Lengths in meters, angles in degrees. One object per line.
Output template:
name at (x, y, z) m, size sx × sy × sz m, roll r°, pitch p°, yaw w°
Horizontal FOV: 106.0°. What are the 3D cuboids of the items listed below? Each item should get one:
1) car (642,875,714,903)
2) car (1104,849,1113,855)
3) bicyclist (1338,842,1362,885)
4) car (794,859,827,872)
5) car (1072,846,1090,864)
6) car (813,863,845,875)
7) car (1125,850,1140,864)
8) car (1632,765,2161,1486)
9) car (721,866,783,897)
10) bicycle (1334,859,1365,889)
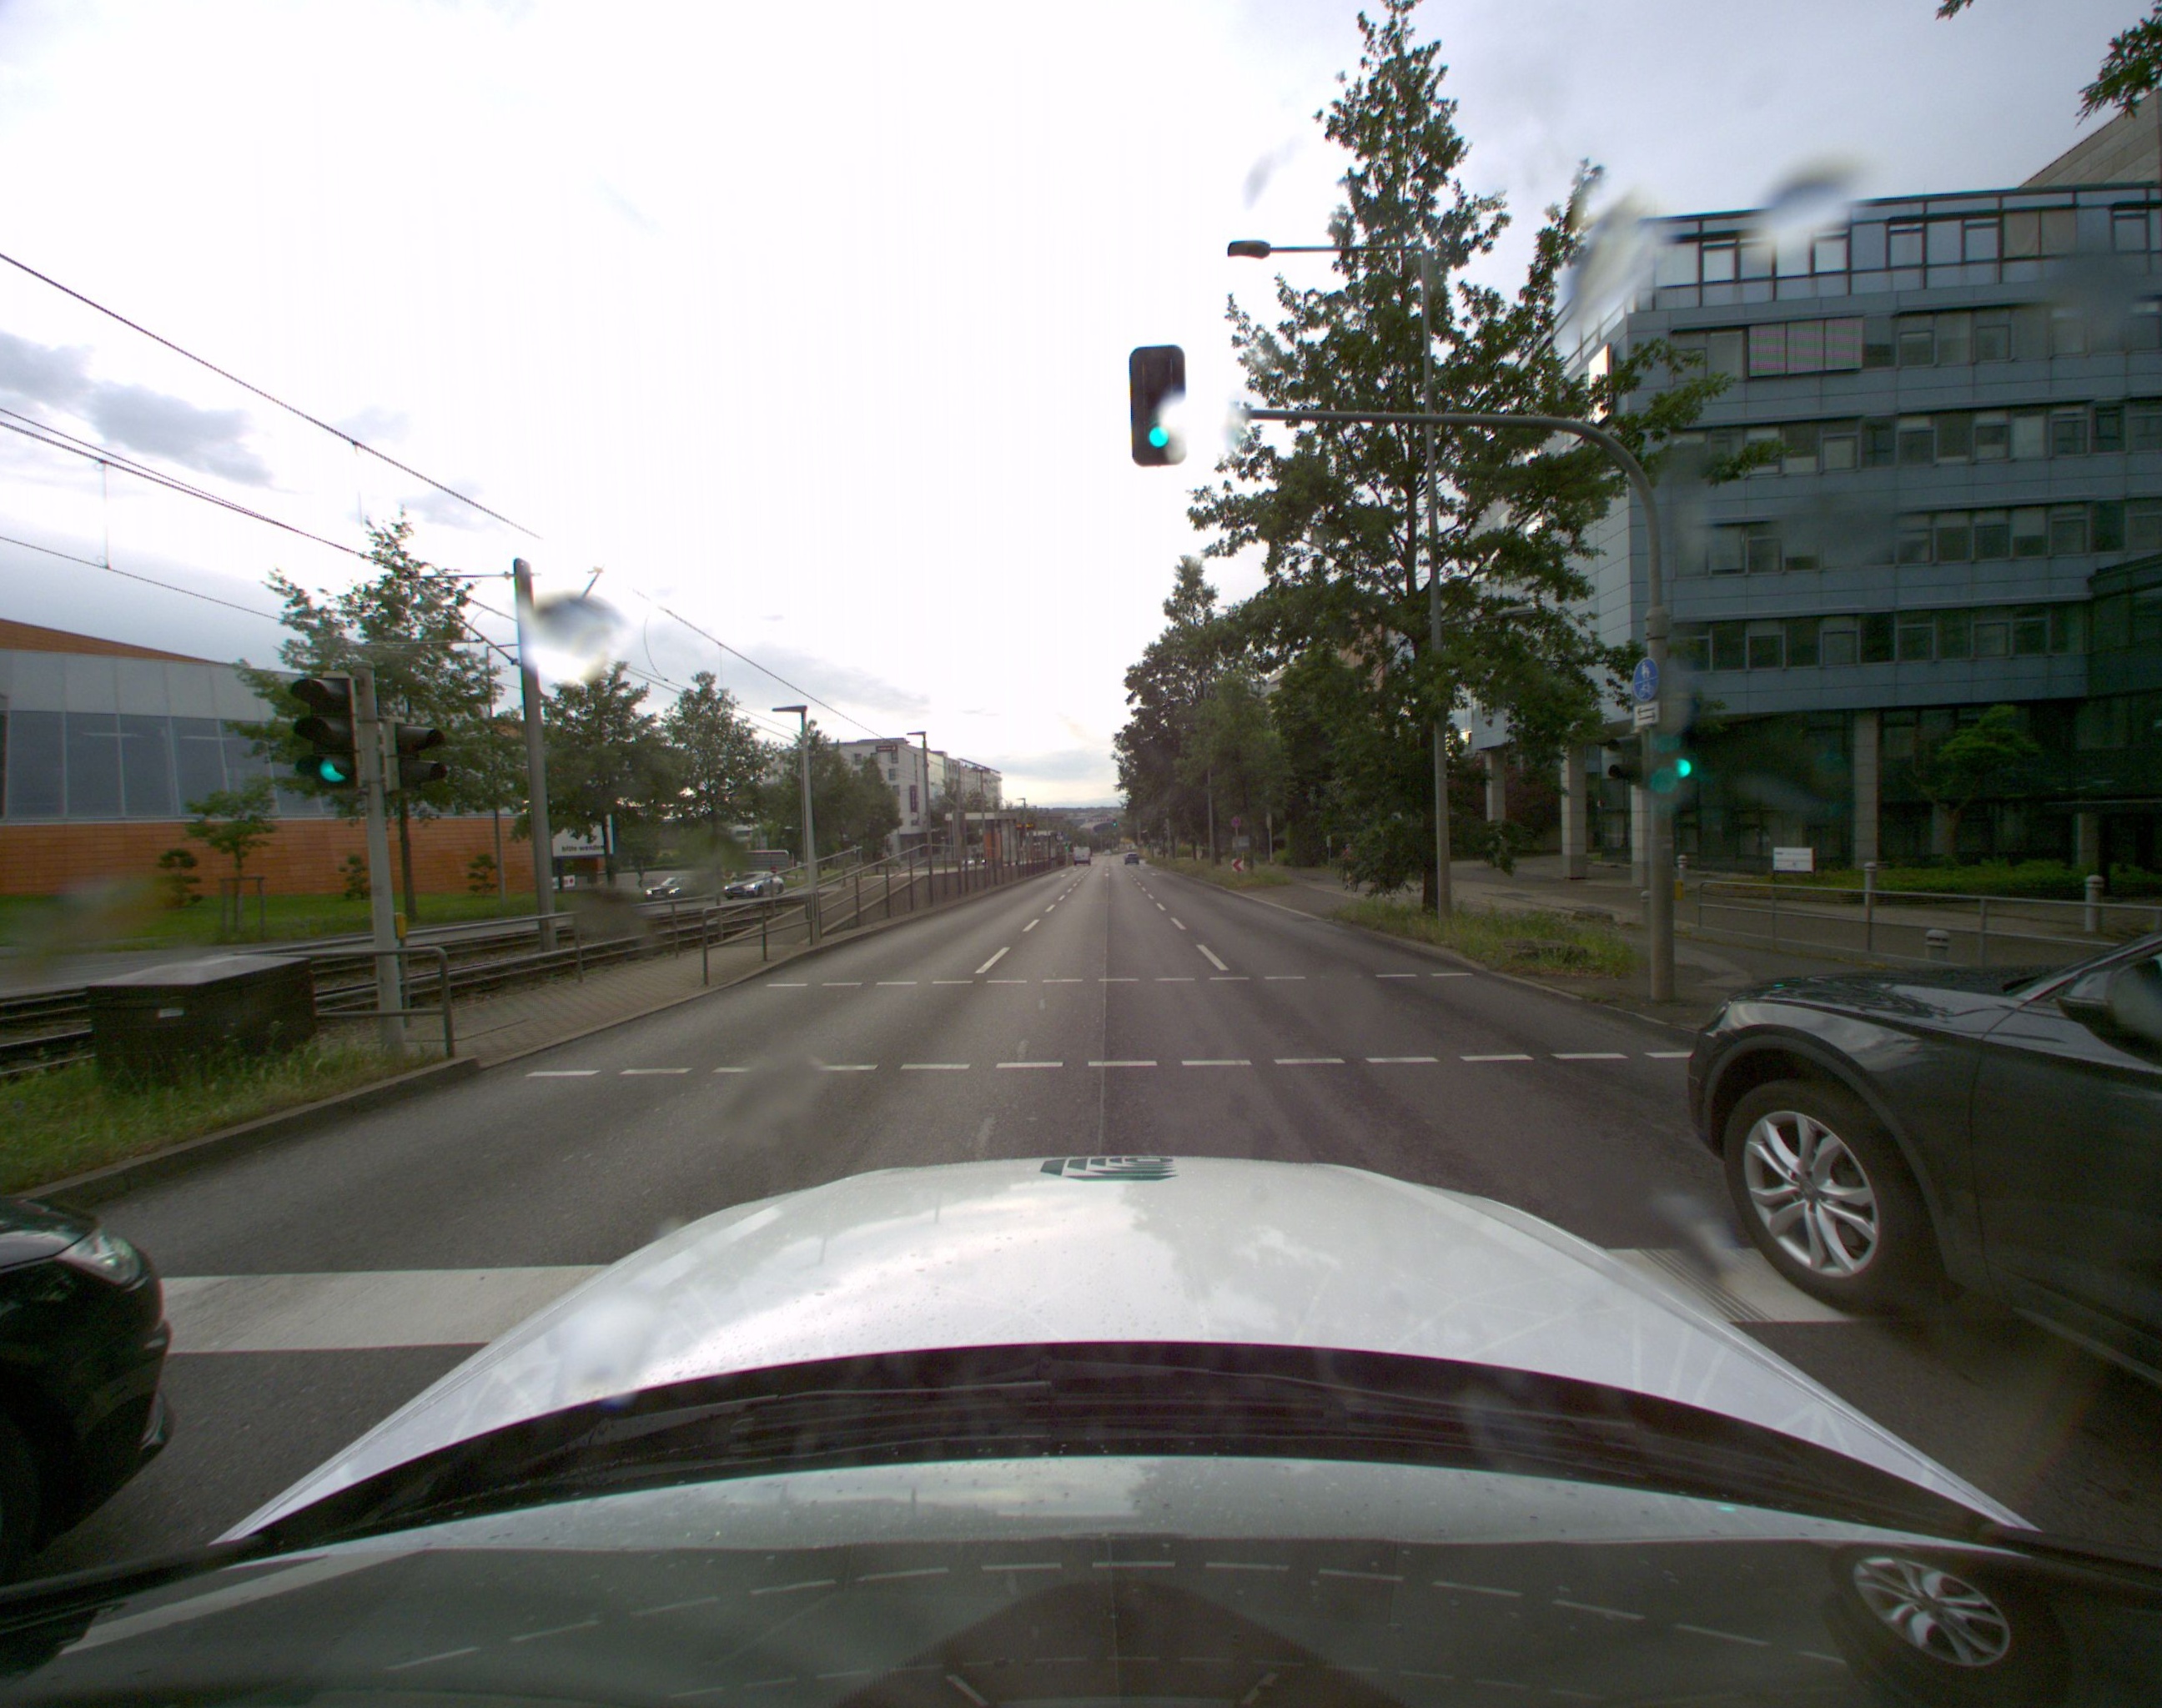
car at (-20.805, 1.788, 42.194) m, size 1.644 × 1.237 × 3.970 m, roll -1°, pitch 0°, yaw 2°
car at (6.980, -0.587, 209.728) m, size 1.772 × 1.390 × 4.011 m, roll -2°, pitch 0°, yaw 10°
bicyclist at (10.090, 0.346, 30.600) m, size 0.643 × 1.579 × 0.855 m, roll 0°, pitch 0°, yaw 1°
car at (-30.601, 1.264, 92.124) m, size 3.341 × 1.387 × 1.440 m, roll -1°, pitch 0°, yaw 18°
car at (0.005, 0.114, 102.279) m, size 2.085 × 2.054 × 4.608 m, roll -1°, pitch 0°, yaw 2°
car at (-29.654, 1.760, 95.866) m, size 3.341 × 1.387 × 1.440 m, roll -1°, pitch 0°, yaw 18°
car at (6.520, 0.431, 102.746) m, size 1.767 × 1.691 × 3.847 m, roll -1°, pitch 0°, yaw 2°
car at (3.295, 0.589, 1.355) m, size 1.811 × 1.613 × 4.472 m, roll -1°, pitch 0°, yaw 2°
car at (-17.943, 1.467, 44.556) m, size 1.645 × 1.436 × 3.880 m, roll -4°, pitch 0°, yaw 1°
bicycle at (10.116, 0.737, 30.710) m, size 0.578 × 1.088 × 1.906 m, roll 0°, pitch 0°, yaw 2°
